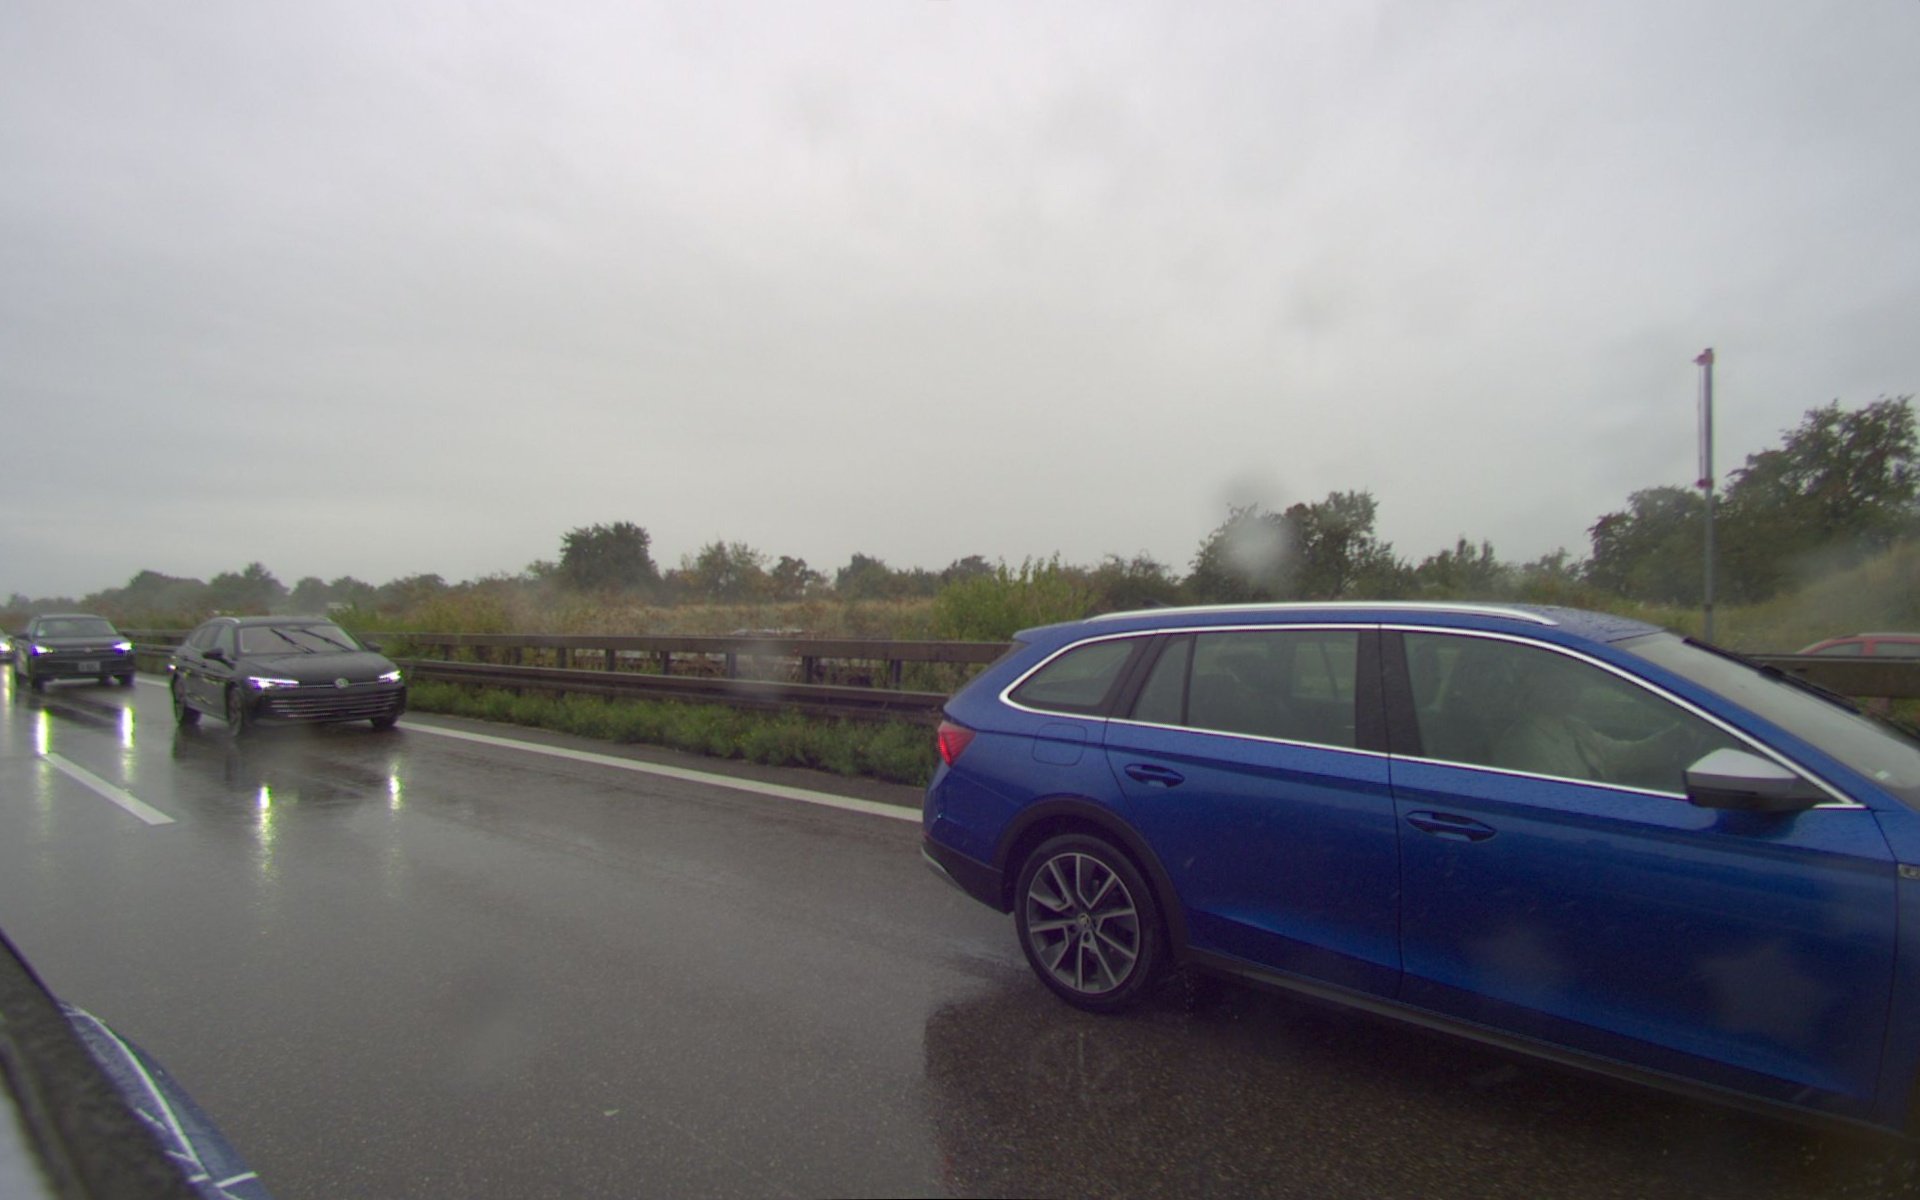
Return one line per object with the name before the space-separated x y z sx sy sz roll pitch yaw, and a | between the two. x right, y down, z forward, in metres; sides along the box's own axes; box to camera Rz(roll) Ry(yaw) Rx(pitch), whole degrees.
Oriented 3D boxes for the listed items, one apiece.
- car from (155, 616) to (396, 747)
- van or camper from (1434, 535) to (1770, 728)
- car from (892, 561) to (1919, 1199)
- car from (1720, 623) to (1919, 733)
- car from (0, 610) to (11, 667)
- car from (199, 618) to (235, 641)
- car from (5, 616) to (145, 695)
car | -9.138 0.957 13.356 4.368 1.447 1.592 -1 -1 41
van or camper | 8.271 0.394 13.213 3.523 2.197 1.347 -1 -1 41
car | 1.996 0.677 3.307 4.510 1.487 1.767 -1 -1 41
car | 13.730 1.141 15.328 3.446 1.544 1.380 -1 -1 41
car | -35.967 1.401 36.865 4.270 2.029 1.863 -2 -1 44
car | -55.449 2.221 75.520 3.407 1.671 1.485 -1 -1 41
car | -20.410 1.210 23.280 4.266 1.644 1.864 -1 -1 41
